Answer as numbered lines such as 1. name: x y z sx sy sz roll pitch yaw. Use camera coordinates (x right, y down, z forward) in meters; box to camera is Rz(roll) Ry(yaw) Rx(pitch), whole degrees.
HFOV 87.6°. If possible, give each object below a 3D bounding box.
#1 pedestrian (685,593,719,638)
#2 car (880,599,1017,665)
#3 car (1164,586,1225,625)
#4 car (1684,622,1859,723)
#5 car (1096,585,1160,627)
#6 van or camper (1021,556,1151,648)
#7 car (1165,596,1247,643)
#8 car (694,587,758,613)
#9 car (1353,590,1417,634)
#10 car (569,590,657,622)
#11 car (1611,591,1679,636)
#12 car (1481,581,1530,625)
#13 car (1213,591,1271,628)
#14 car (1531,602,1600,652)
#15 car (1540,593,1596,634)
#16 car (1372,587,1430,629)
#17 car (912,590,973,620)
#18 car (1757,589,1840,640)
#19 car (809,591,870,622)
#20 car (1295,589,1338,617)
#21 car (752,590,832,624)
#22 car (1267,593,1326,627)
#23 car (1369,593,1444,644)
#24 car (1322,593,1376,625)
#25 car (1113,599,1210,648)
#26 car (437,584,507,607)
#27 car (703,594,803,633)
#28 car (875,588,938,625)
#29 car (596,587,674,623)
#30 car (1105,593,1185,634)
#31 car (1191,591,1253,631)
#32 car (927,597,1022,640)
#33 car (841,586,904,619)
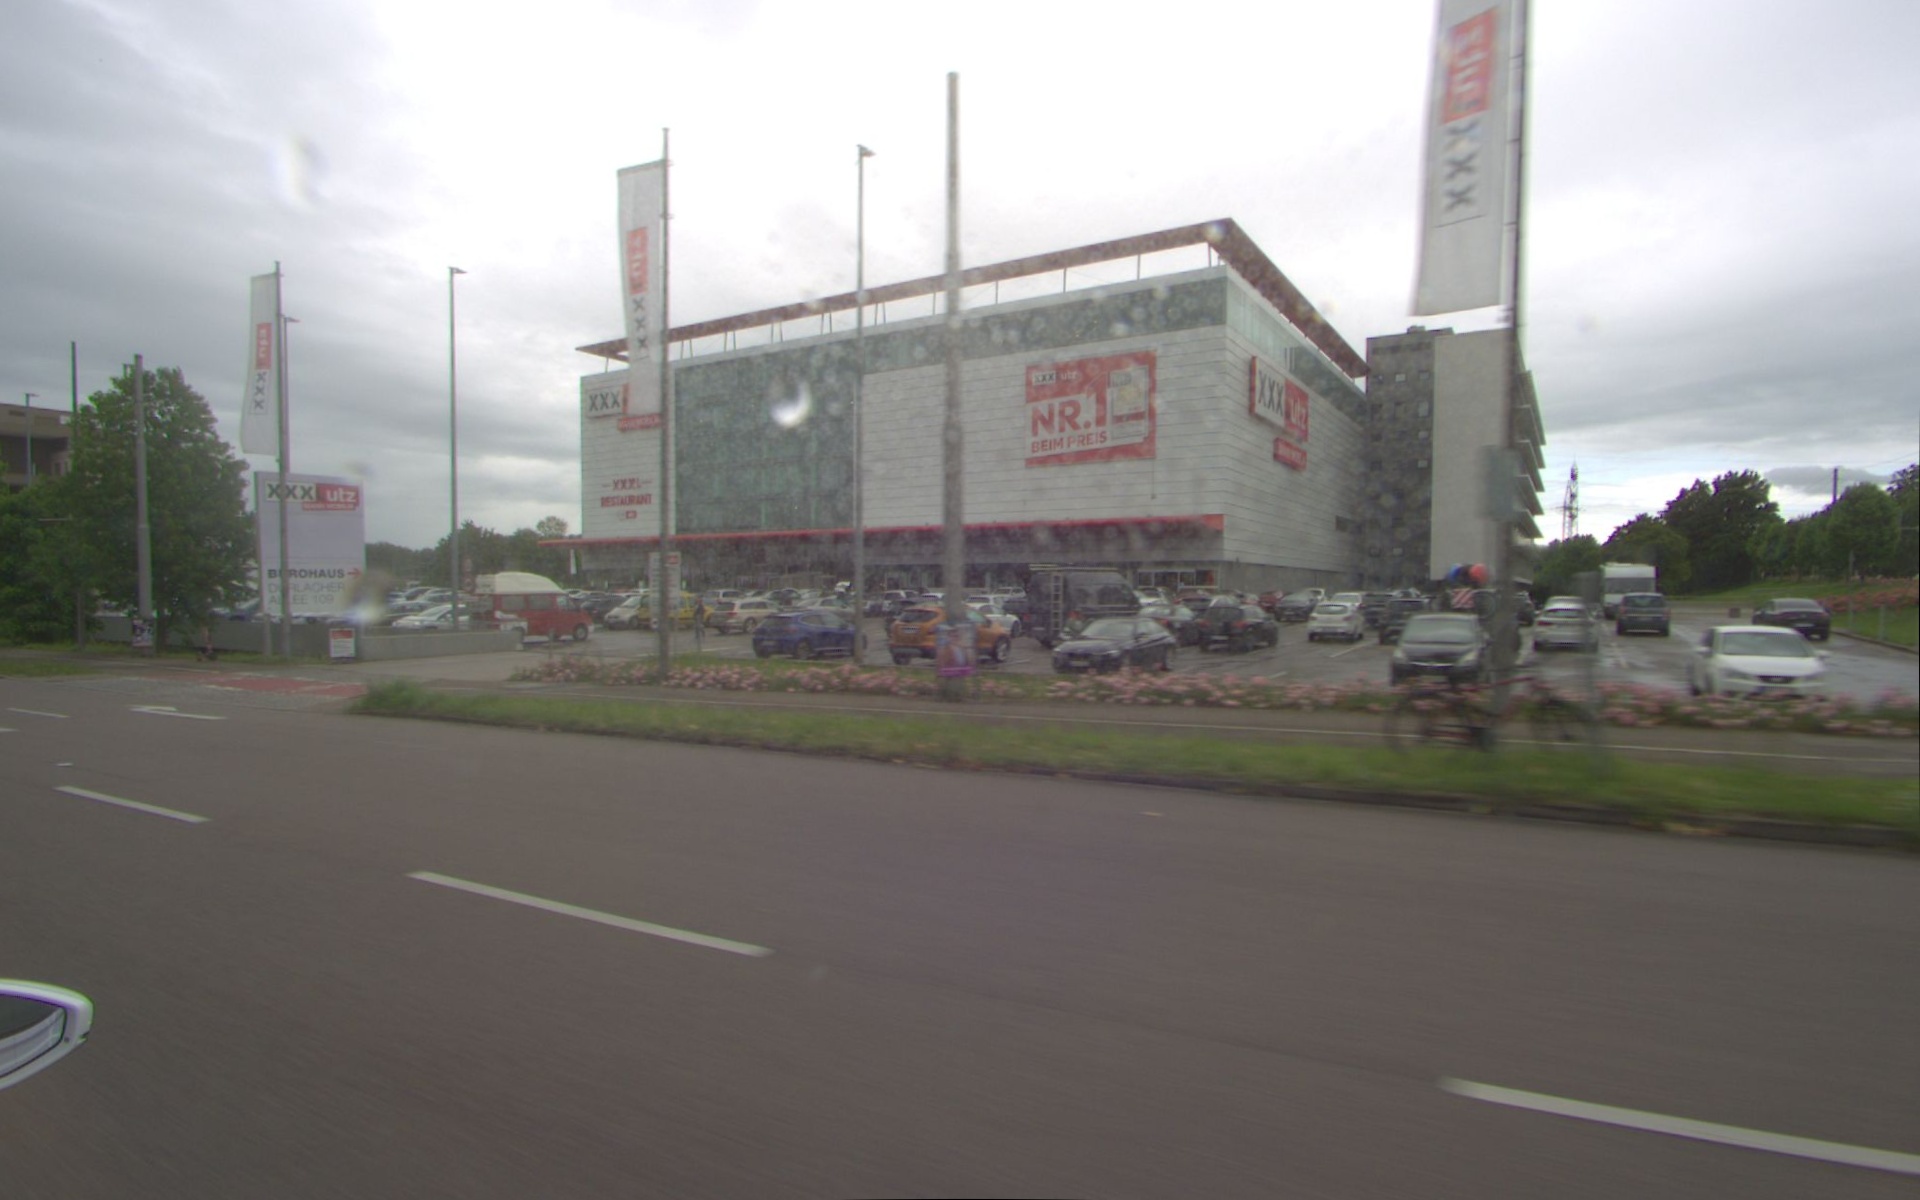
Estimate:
1. pedestrian: -10.320 0.596 40.059 0.872 1.743 0.938 3 2 31
2. car: -0.240 0.826 27.856 1.792 1.665 3.973 0 0 37
3. car: 12.732 0.309 54.247 1.972 2.040 3.977 0 0 34
4. car: 14.631 1.216 18.308 1.847 1.465 4.100 3 1 31
5. car: 8.759 0.320 51.939 1.857 2.074 3.978 0 0 32
6. van or camper: 4.560 0.059 35.587 1.968 3.023 5.354 0 0 40
7. car: 9.615 0.730 38.991 1.859 1.692 3.976 0 1 34
8. car: -15.735 -0.026 67.361 1.856 1.632 3.975 3 1 35
9. car: 19.193 0.488 45.111 1.839 1.805 4.197 1 2 34
10. car: -17.475 0.301 50.592 1.861 1.554 3.980 0 0 31
11. car: 27.095 0.507 39.706 1.857 1.688 3.982 1 1 29
12. car: 25.935 0.136 47.637 1.969 1.976 3.983 0 0 28
13. car: 15.026 0.474 53.310 1.796 1.842 3.975 0 1 35
14. car: 19.637 0.822 32.417 1.721 1.496 4.186 0 0 34
15. car: 24.603 0.528 40.624 1.805 1.537 3.982 0 1 29
16. car: 21.836 0.371 49.539 1.924 1.955 3.975 0 1 35
17. car: -0.980 0.304 58.573 1.807 1.676 3.981 0 0 31
18. car: 31.037 0.518 37.176 1.887 1.779 3.978 0 0 33
19. car: -7.451 0.400 62.416 1.813 1.864 3.983 0 0 29
20. car: 22.082 0.151 61.966 1.627 1.581 3.594 2 2 33
21. car: -8.539 0.342 51.174 1.762 1.656 3.977 0 0 34
22. car: 17.542 0.473 52.059 1.924 1.676 3.975 0 1 35
23. car: 15.830 0.627 35.389 1.971 1.697 3.980 0 0 31
24. car: 19.939 0.422 51.254 1.754 1.552 3.975 1 2 34
25. car: 6.989 0.761 34.396 1.972 1.589 3.978 0 0 33
26. car: -30.120 -0.284 61.854 1.643 1.314 3.559 3 1 33
27. car: -9.233 0.579 44.962 1.808 1.605 4.400 3 1 34
28. car: -3.155 0.363 59.977 1.885 2.084 3.982 2 1 30
29. car: -18.869 0.281 58.223 1.949 2.040 3.977 0 0 34
30. car: 7.575 0.549 40.682 1.829 1.576 3.978 0 0 33
31. car: 12.900 0.524 49.099 1.807 1.886 3.978 0 0 33
32. car: 0.616 0.680 38.725 1.838 1.572 3.977 0 0 34
33. car: -5.300 0.150 61.294 1.905 1.951 3.982 0 0 30
